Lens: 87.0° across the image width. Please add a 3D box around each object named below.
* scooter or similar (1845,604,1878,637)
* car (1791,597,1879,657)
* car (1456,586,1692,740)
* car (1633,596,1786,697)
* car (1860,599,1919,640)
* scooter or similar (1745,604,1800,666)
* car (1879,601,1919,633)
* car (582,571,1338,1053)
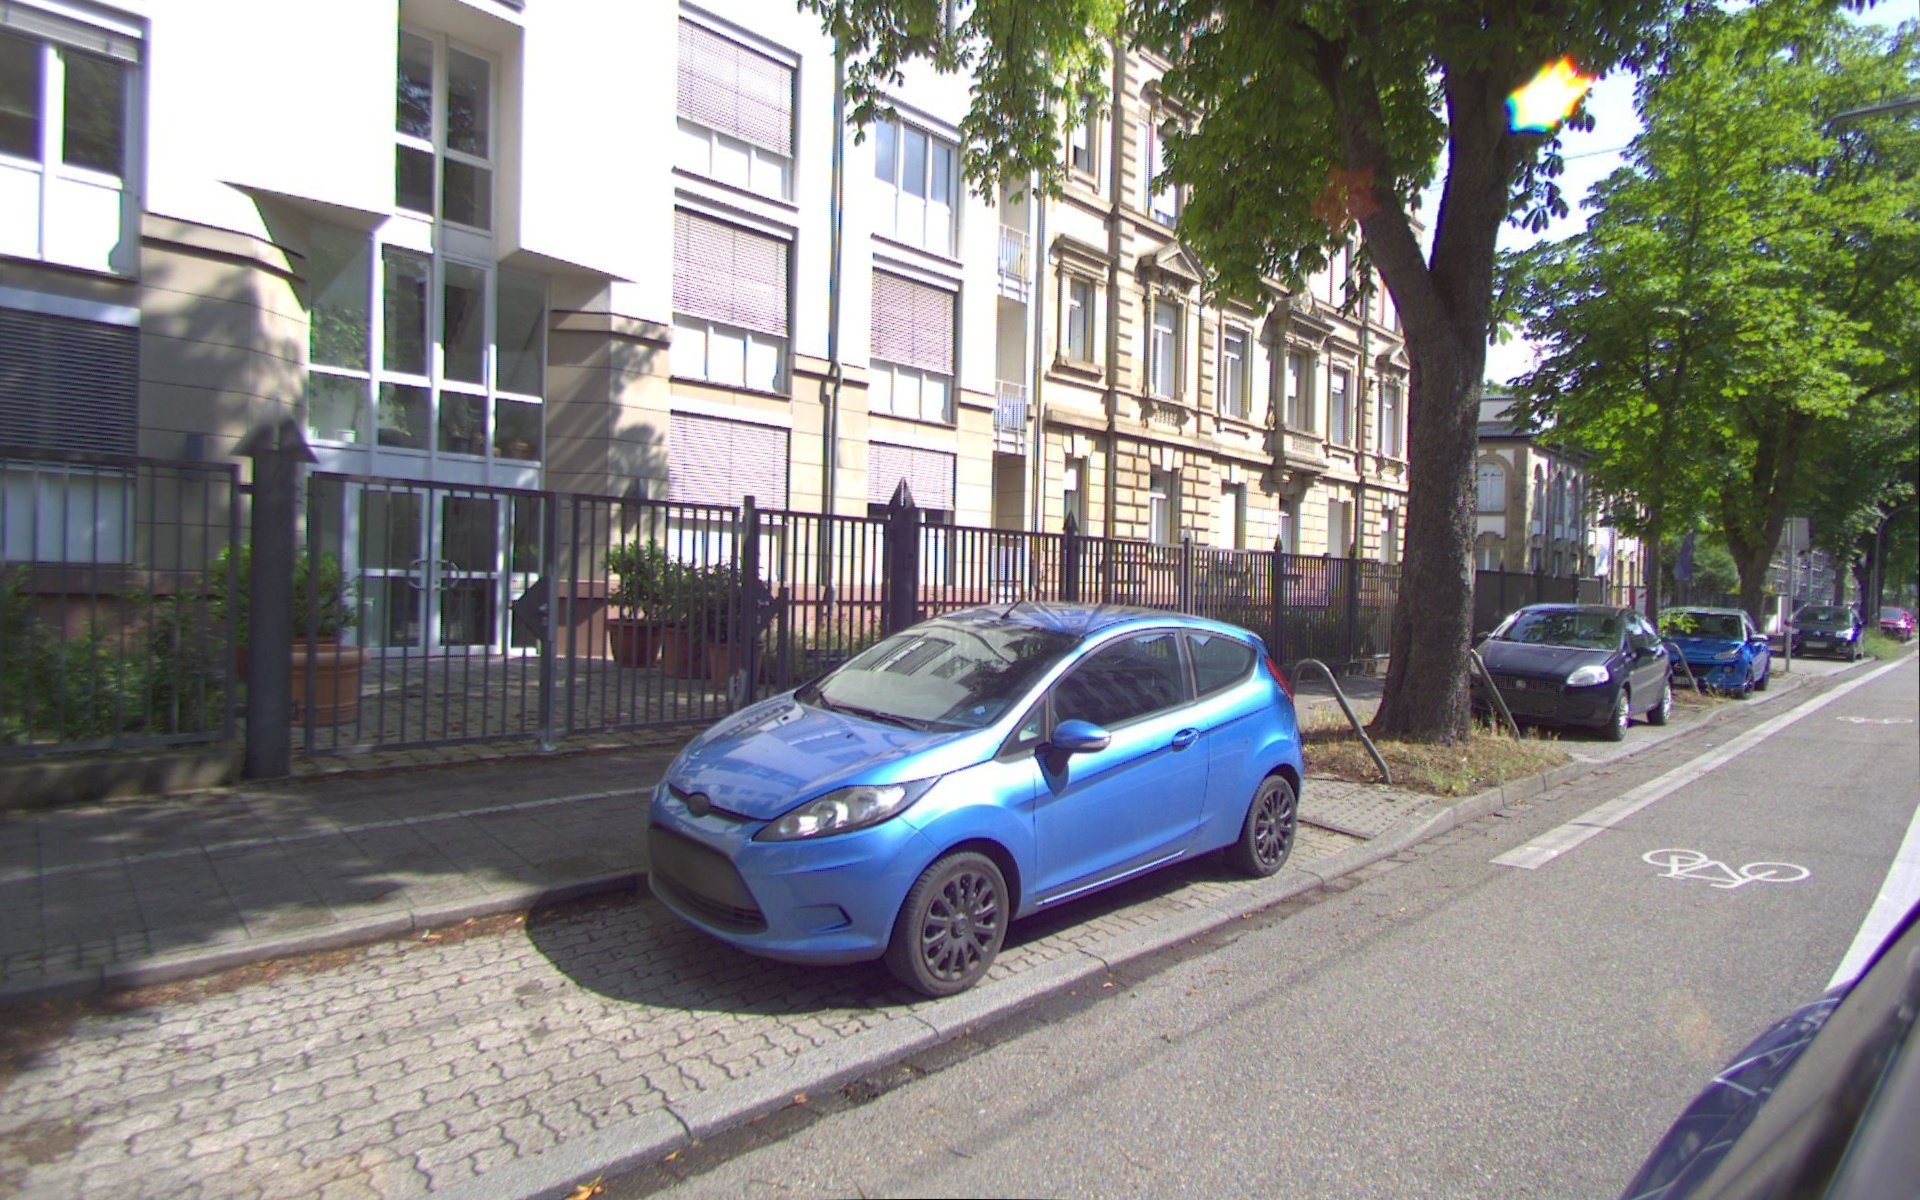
[{"bbox_3d":[36.648,0.832,41.144,1.233,1.252,0.343,2,3,-19],"label":"scooter or similar"},{"bbox_3d":[26.688,0.758,30.817,1.698,1.610,4.135,4,3,45],"label":"car"},{"bbox_3d":[7.577,0.646,12.339,1.640,1.514,3.698,4,2,44],"label":"car"},{"bbox_3d":[13.257,0.734,17.828,1.641,1.514,3.568,4,2,44],"label":"car"},{"bbox_3d":[42.744,0.857,46.465,1.877,1.697,4.214,4,3,44],"label":"car"},{"bbox_3d":[18.293,0.760,22.811,0.436,1.315,1.176,5,1,15],"label":"scooter or similar"},{"bbox_3d":[48.313,0.872,51.877,1.600,1.445,3.543,6,4,41],"label":"car"},{"bbox_3d":[0.265,0.682,5.200,3.784,1.514,1.626,0,3,-44],"label":"car"}]
